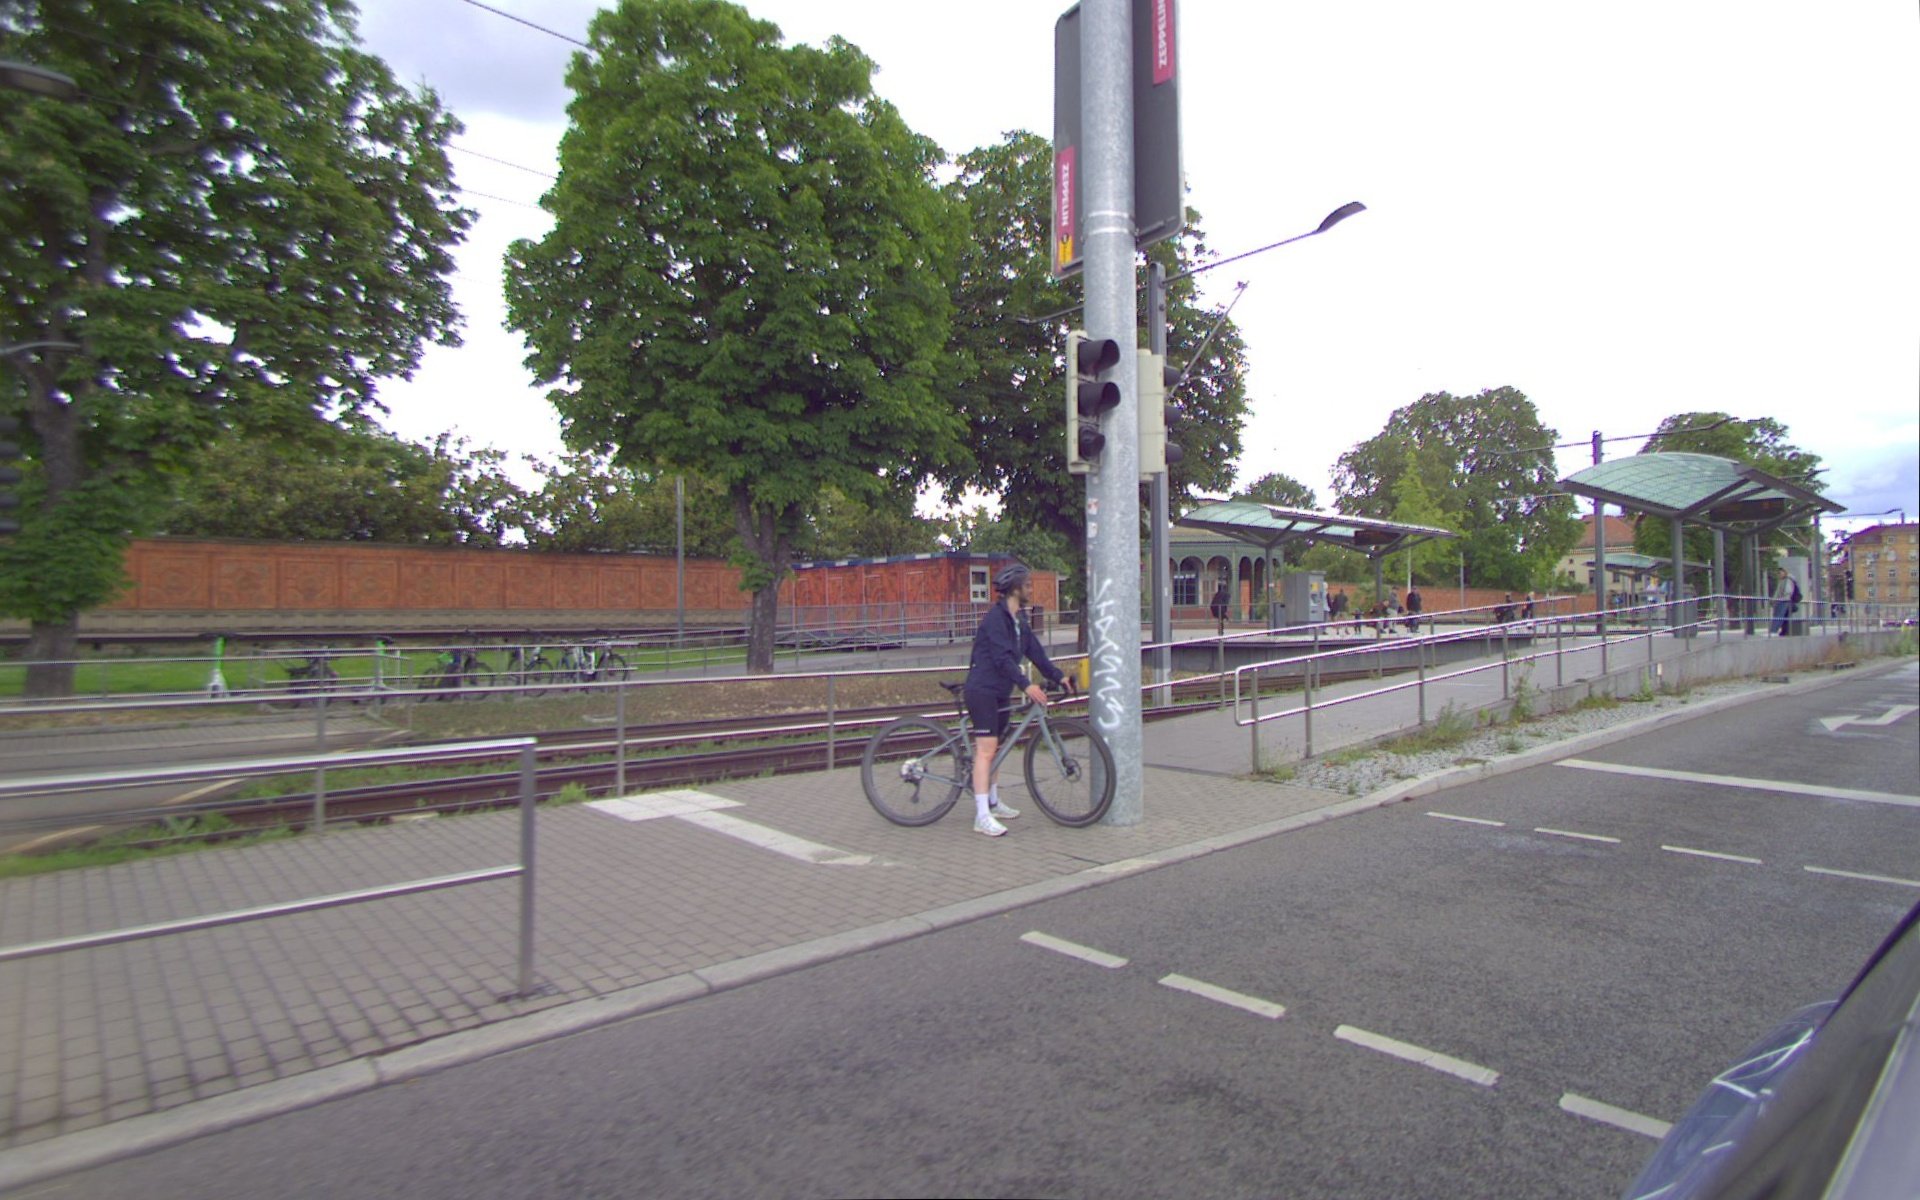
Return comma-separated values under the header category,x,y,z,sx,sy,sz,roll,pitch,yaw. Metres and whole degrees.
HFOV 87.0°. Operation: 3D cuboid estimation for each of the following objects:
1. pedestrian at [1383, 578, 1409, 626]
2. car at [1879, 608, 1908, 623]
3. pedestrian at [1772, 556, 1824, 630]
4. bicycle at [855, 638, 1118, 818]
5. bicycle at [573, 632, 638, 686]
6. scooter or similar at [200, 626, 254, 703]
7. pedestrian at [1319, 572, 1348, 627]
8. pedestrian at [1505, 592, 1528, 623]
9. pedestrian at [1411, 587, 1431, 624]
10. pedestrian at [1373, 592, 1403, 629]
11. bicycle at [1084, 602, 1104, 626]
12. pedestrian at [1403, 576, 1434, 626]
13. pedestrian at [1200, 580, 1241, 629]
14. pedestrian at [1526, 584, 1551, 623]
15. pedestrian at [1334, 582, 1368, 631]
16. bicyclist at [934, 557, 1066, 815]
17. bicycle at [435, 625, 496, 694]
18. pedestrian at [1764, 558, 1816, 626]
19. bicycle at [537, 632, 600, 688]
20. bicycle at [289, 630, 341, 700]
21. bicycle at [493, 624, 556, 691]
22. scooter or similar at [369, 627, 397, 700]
category,x,y,z,sx,sy,sz,roll,pitch,yaw
pedestrian,15.492,0.075,35.933,0.663,1.641,0.525,0,-4,-40
car,93.767,1.545,101.632,4.049,1.461,1.678,1,-4,-42
pedestrian,20.558,-0.156,24.836,0.718,1.722,0.771,3,-6,-39
bicycle,0.196,0.800,6.658,1.657,1.088,0.618,0,-3,10
bicycle,-6.822,1.146,19.430,0.523,0.976,1.876,0,-4,-40
scooter or similar,-11.521,1.005,15.937,0.326,1.154,1.168,-1,-3,-17
pedestrian,11.888,-0.020,32.178,0.664,1.699,0.544,1,-4,-44
pedestrian,29.780,0.396,54.167,0.757,1.621,0.742,0,-4,-32
pedestrian,23.641,0.271,51.917,0.547,1.862,0.937,-5,-4,42
pedestrian,14.586,0.367,34.495,0.663,1.207,0.658,0,-4,-39
bicycle,6.167,0.655,46.525,0.556,1.075,1.705,-3,-3,18
pedestrian,17.315,0.048,38.241,0.933,1.862,0.633,0,-4,-40
pedestrian,7.427,0.142,28.828,0.951,1.341,0.674,0,-4,-42
pedestrian,26.095,0.167,45.672,0.851,1.709,0.633,0,-4,-41
pedestrian,14.216,0.239,36.797,0.858,1.699,0.751,-5,-4,39
bicyclist,0.280,0.540,6.653,0.793,1.593,0.616,0,-3,10
bicycle,-8.751,1.062,17.882,0.523,1.154,1.876,0,-4,-40
pedestrian,19.944,-0.172,24.324,0.760,1.574,0.751,3,-6,-39
bicycle,-7.343,1.136,18.941,0.523,0.976,1.876,0,-4,-40
bicycle,-10.295,1.036,16.131,0.475,1.047,1.766,0,-4,-40
bicycle,-7.916,1.055,18.348,0.523,1.154,1.876,0,-4,-40
scooter or similar,-9.619,1.062,16.856,0.327,1.154,1.278,0,-3,-33
